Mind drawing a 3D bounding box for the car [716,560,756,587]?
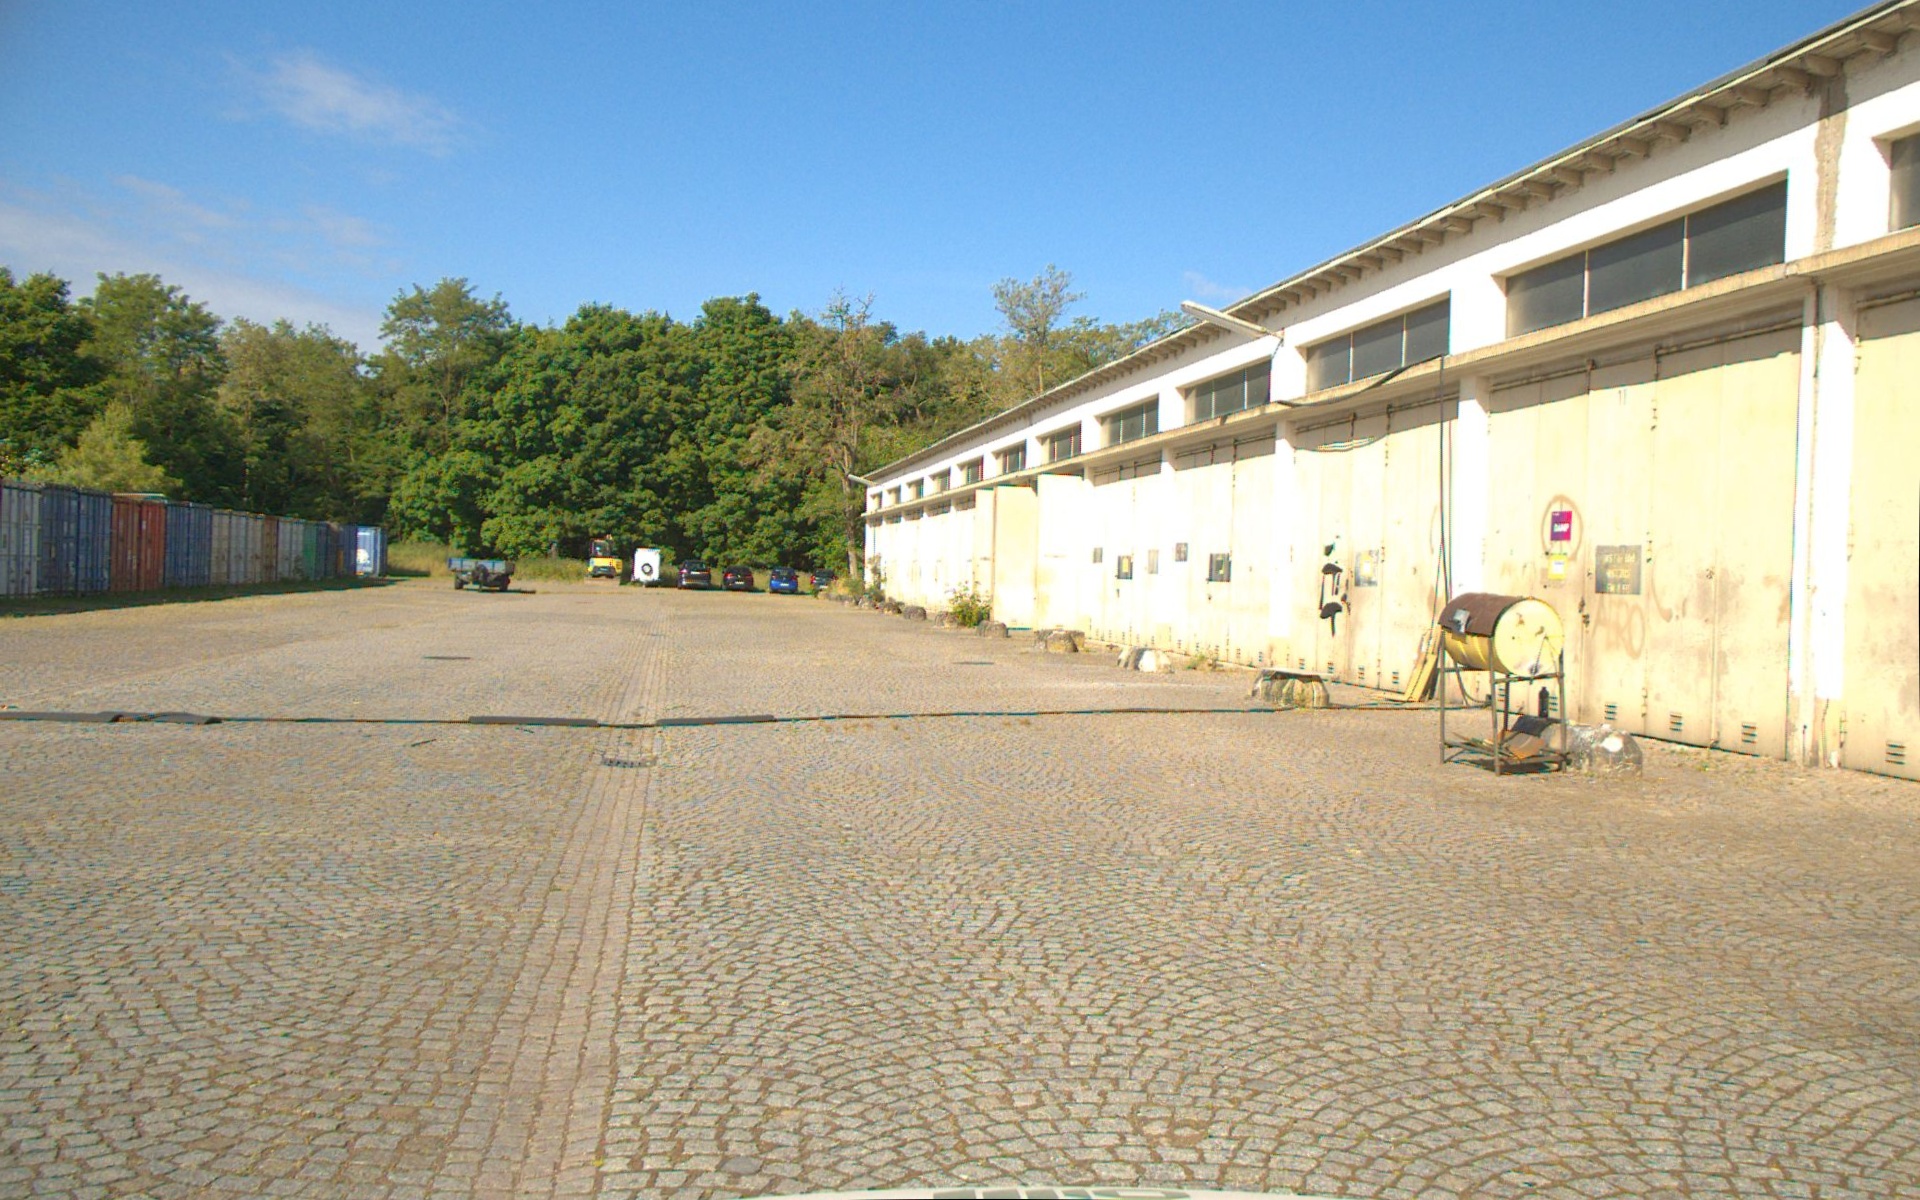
[{"bbox_3d":[-12.771,-1.525,94.538,1.954,1.488,3.998,2,1,-3],"label":"car"}]

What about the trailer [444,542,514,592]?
[{"bbox_3d":[-21.776,-1.505,75.057,2.362,2.048,4.166,4,1,-8],"label":"trailer"}]

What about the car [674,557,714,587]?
[{"bbox_3d":[-15.049,-1.610,93.715,1.824,1.613,3.998,2,1,-3],"label":"car"}]

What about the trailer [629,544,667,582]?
[{"bbox_3d":[-17.929,-2.113,95.078,1.759,2.126,3.967,2,1,-6],"label":"trailer"}]

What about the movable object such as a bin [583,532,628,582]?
[{"bbox_3d":[-20.322,-2.457,94.904,1.955,2.663,3.995,4,1,-6],"label":"movable object such as a bin"}]

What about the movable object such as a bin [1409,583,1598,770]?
[{"bbox_3d":[4.208,0.568,12.894,0.810,1.355,1.275,1,1,-15],"label":"movable object such as a bin"}]

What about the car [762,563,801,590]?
[{"bbox_3d":[-10.234,-1.367,95.020,1.954,1.445,3.998,2,1,-3],"label":"car"}]

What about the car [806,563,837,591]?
[{"bbox_3d":[-8.081,-1.351,96.678,1.652,1.591,3.998,2,1,-3],"label":"car"}]
